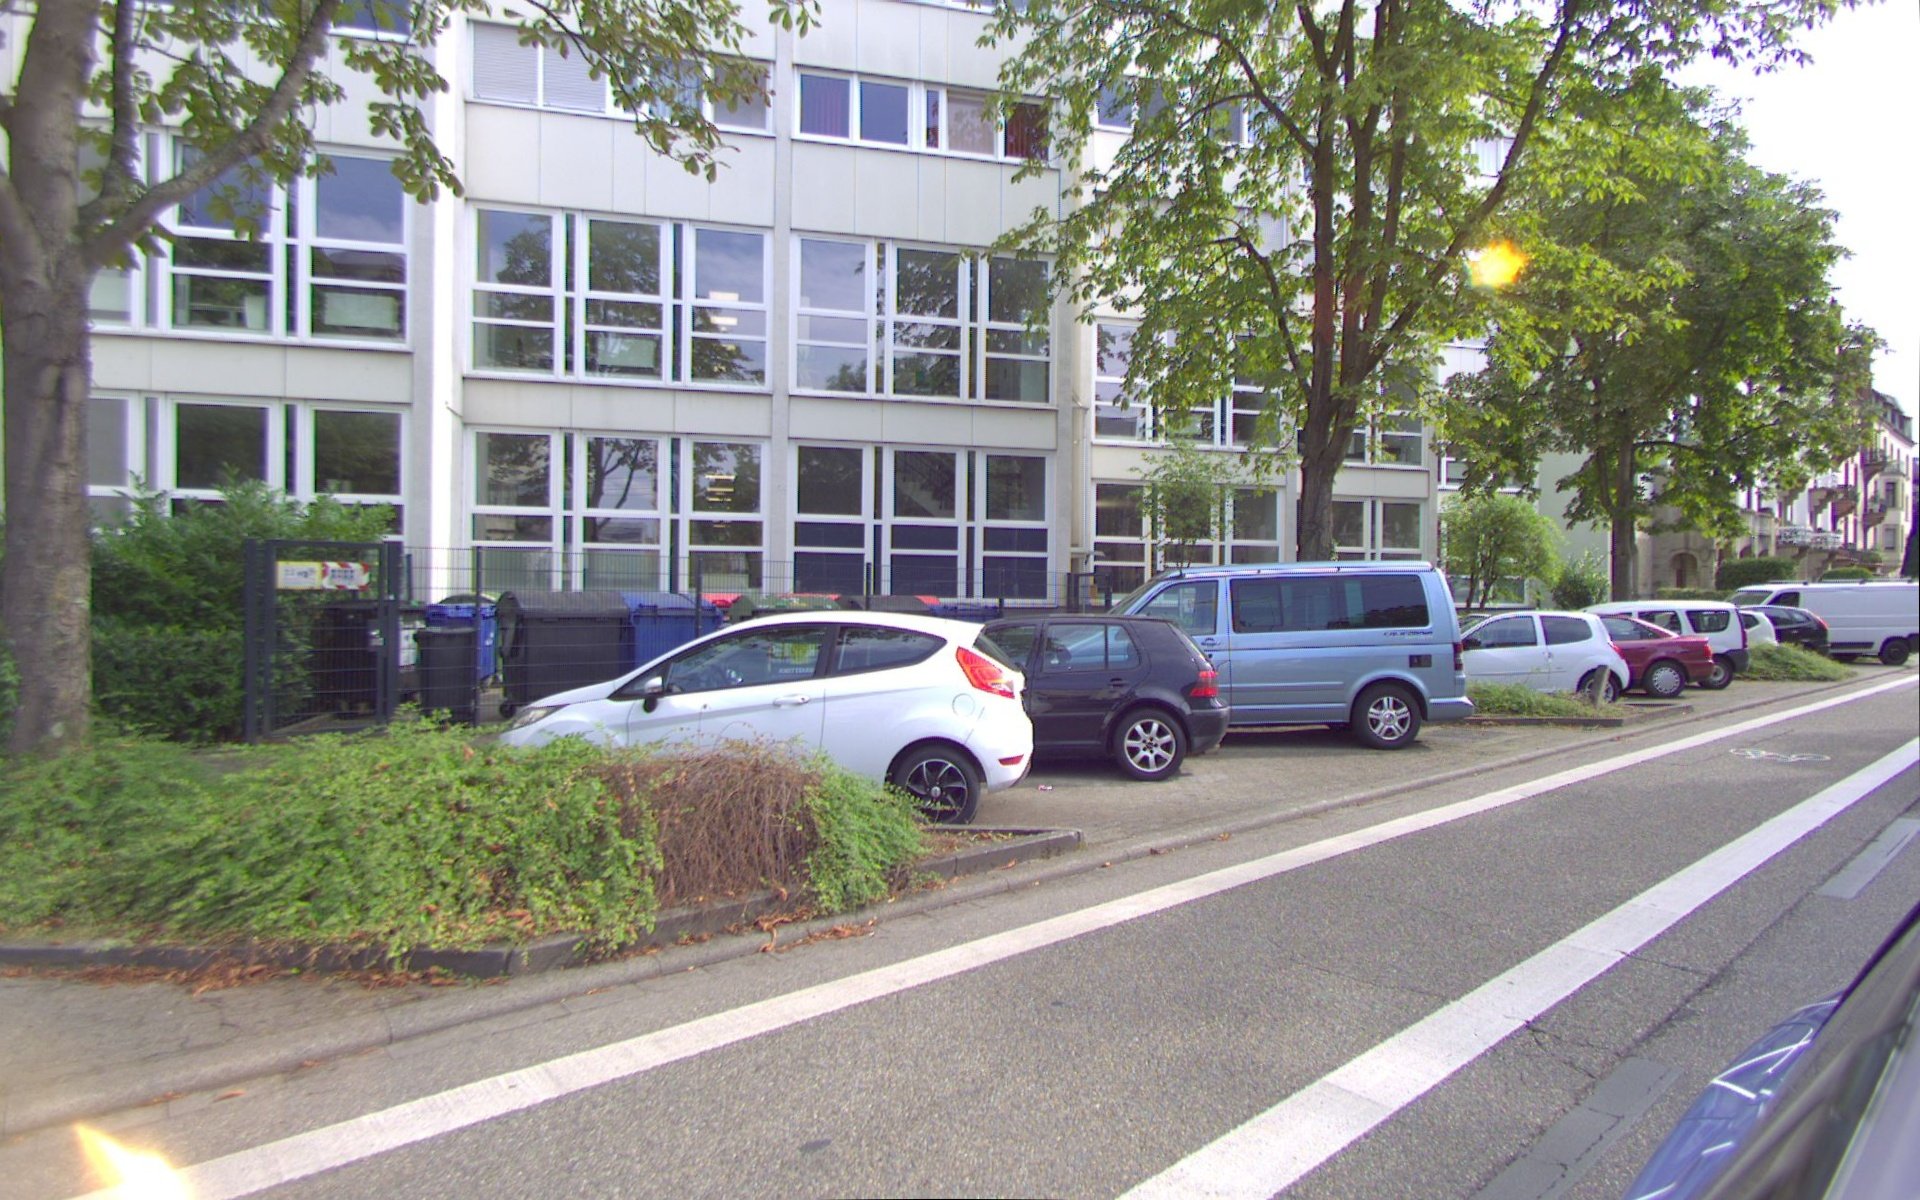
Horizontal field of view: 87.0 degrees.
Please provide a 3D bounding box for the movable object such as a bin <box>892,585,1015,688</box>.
[{"bbox_3d":[-0.102,0.526,15.526,1.374,1.477,1.335,0,0,-36],"label":"movable object such as a bin"}]

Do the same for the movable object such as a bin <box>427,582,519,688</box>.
[{"bbox_3d":[-7.573,0.517,15.814,1.155,1.588,1.177,0,0,-19],"label":"movable object such as a bin"}]

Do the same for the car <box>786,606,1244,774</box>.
[{"bbox_3d":[0.496,0.770,9.556,3.902,1.405,1.812,0,-1,5],"label":"car"}]

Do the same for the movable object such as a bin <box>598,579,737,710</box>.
[{"bbox_3d":[-3.695,0.517,12.735,1.312,1.523,1.335,0,0,-36],"label":"movable object such as a bin"}]

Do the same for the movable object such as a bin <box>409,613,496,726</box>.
[{"bbox_3d":[-5.383,0.709,10.723,0.729,1.119,0.786,0,0,-34],"label":"movable object such as a bin"}]

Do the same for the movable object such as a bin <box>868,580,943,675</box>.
[{"bbox_3d":[-0.970,0.460,17.749,1.150,1.588,1.182,0,0,-12],"label":"movable object such as a bin"}]

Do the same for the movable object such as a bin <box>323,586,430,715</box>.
[{"bbox_3d":[-6.788,0.559,11.837,0.893,1.425,1.026,0,0,-19],"label":"movable object such as a bin"}]

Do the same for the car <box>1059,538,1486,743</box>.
[{"bbox_3d":[3.304,0.400,11.493,4.268,2.090,1.998,0,0,5],"label":"car"}]

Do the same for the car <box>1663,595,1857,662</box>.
[{"bbox_3d":[20.733,0.692,26.414,3.605,1.609,1.753,0,1,24],"label":"car"}]

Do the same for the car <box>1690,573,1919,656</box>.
[{"bbox_3d":[23.932,0.376,28.245,5.349,2.203,2.143,0,0,9],"label":"car"}]

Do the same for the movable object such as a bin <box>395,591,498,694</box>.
[{"bbox_3d":[-7.301,0.575,14.463,1.155,1.387,1.177,0,0,-19],"label":"movable object such as a bin"}]

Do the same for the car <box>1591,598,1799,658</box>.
[{"bbox_3d":[17.387,0.635,24.080,3.580,1.347,1.766,0,0,5],"label":"car"}]

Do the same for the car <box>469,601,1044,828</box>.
[{"bbox_3d":[-1.312,0.728,7.380,3.792,1.410,1.632,0,0,4],"label":"car"}]

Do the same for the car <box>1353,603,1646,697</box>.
[{"bbox_3d":[8.245,0.728,15.743,3.580,1.347,1.766,0,0,5],"label":"car"}]

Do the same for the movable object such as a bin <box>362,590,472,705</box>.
[{"bbox_3d":[-7.023,0.581,13.152,1.095,1.409,1.065,0,0,-19],"label":"movable object such as a bin"}]

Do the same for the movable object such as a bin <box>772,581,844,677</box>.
[{"bbox_3d":[-2.639,0.474,17.447,1.150,1.588,1.182,0,0,-12],"label":"movable object such as a bin"}]

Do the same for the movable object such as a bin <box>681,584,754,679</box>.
[{"bbox_3d":[-4.057,0.501,17.052,1.150,1.533,1.182,0,0,-12],"label":"movable object such as a bin"}]

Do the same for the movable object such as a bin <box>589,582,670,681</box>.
[{"bbox_3d":[-5.491,0.497,16.909,1.150,1.588,1.182,0,0,-12],"label":"movable object such as a bin"}]

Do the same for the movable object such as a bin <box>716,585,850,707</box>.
[{"bbox_3d":[-2.387,0.572,13.614,1.328,1.521,1.335,0,0,-36],"label":"movable object such as a bin"}]

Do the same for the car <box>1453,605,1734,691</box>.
[{"bbox_3d":[10.883,0.788,17.644,3.708,1.355,1.810,0,1,9],"label":"car"}]

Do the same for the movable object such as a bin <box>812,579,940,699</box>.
[{"bbox_3d":[-1.214,0.517,14.469,1.328,1.616,1.335,0,0,-36],"label":"movable object such as a bin"}]

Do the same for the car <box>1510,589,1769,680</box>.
[{"bbox_3d":[13.002,0.616,19.582,3.708,1.638,1.810,0,0,9],"label":"car"}]

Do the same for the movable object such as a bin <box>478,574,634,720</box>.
[{"bbox_3d":[-4.686,0.494,11.709,1.389,1.549,1.330,0,0,-36],"label":"movable object such as a bin"}]
